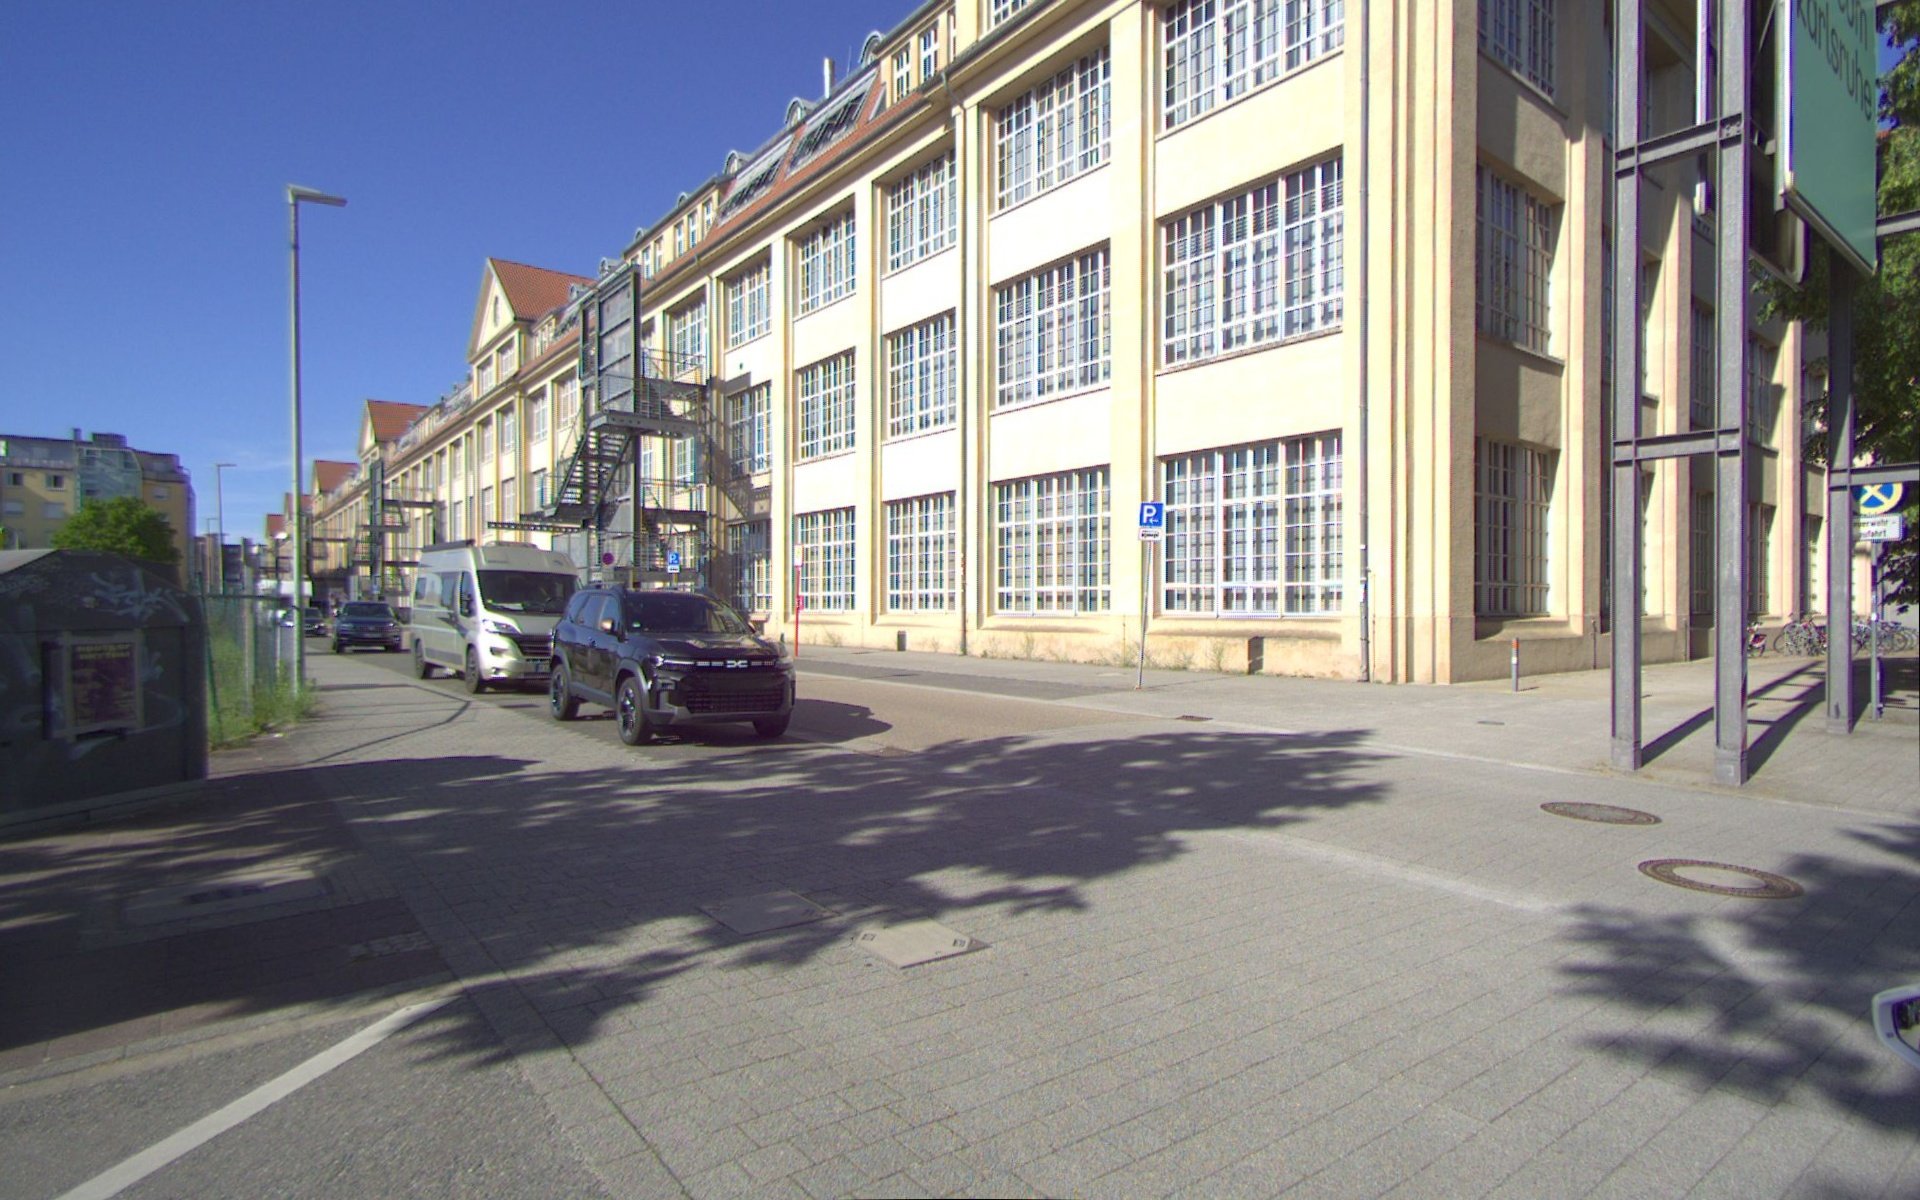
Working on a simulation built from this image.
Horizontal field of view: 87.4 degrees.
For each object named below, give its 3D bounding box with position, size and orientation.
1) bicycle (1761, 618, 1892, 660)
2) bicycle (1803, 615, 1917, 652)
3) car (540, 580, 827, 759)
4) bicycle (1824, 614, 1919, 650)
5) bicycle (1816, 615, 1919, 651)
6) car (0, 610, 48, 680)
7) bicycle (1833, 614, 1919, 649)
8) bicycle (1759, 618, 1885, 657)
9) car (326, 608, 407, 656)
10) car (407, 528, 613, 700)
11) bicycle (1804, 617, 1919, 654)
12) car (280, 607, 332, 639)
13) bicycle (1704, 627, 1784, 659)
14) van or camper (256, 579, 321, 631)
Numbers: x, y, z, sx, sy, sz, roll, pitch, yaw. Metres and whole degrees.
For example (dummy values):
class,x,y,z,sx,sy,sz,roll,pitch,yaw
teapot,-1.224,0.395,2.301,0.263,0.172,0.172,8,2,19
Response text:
class,x,y,z,sx,sy,sz,roll,pitch,yaw
bicycle,24.693,1.089,28.675,0.713,1.077,2.775,0,0,-41
bicycle,29.712,1.077,33.214,0.713,1.166,2.775,0,0,-41
car,-3.417,0.682,11.868,1.981,1.718,4.061,1,-1,-36
bicycle,31.529,1.085,34.518,0.713,1.166,2.707,0,0,-41
bicycle,30.866,1.099,34.099,0.713,1.166,2.707,0,0,-41
car,-23.677,1.036,22.786,4.201,1.581,1.879,0,0,-36
bicycle,32.902,1.108,35.750,0.713,1.166,2.707,0,0,-41
bicycle,25.662,1.086,29.978,0.712,1.077,2.780,0,0,-37
car,-19.520,0.982,32.947,1.834,1.444,4.180,0,0,-37
car,-8.506,0.249,18.566,2.145,2.631,6.217,1,-1,-37
bicycle,28.222,1.094,31.379,0.713,1.077,2.775,0,0,-41
car,-31.641,1.080,48.562,1.834,1.444,4.180,1,-1,-37
bicycle,21.817,1.172,27.915,2.850,0.803,0.774,0,0,-31
van or camper,-39.225,0.267,58.606,2.701,2.895,5.076,1,0,-39
